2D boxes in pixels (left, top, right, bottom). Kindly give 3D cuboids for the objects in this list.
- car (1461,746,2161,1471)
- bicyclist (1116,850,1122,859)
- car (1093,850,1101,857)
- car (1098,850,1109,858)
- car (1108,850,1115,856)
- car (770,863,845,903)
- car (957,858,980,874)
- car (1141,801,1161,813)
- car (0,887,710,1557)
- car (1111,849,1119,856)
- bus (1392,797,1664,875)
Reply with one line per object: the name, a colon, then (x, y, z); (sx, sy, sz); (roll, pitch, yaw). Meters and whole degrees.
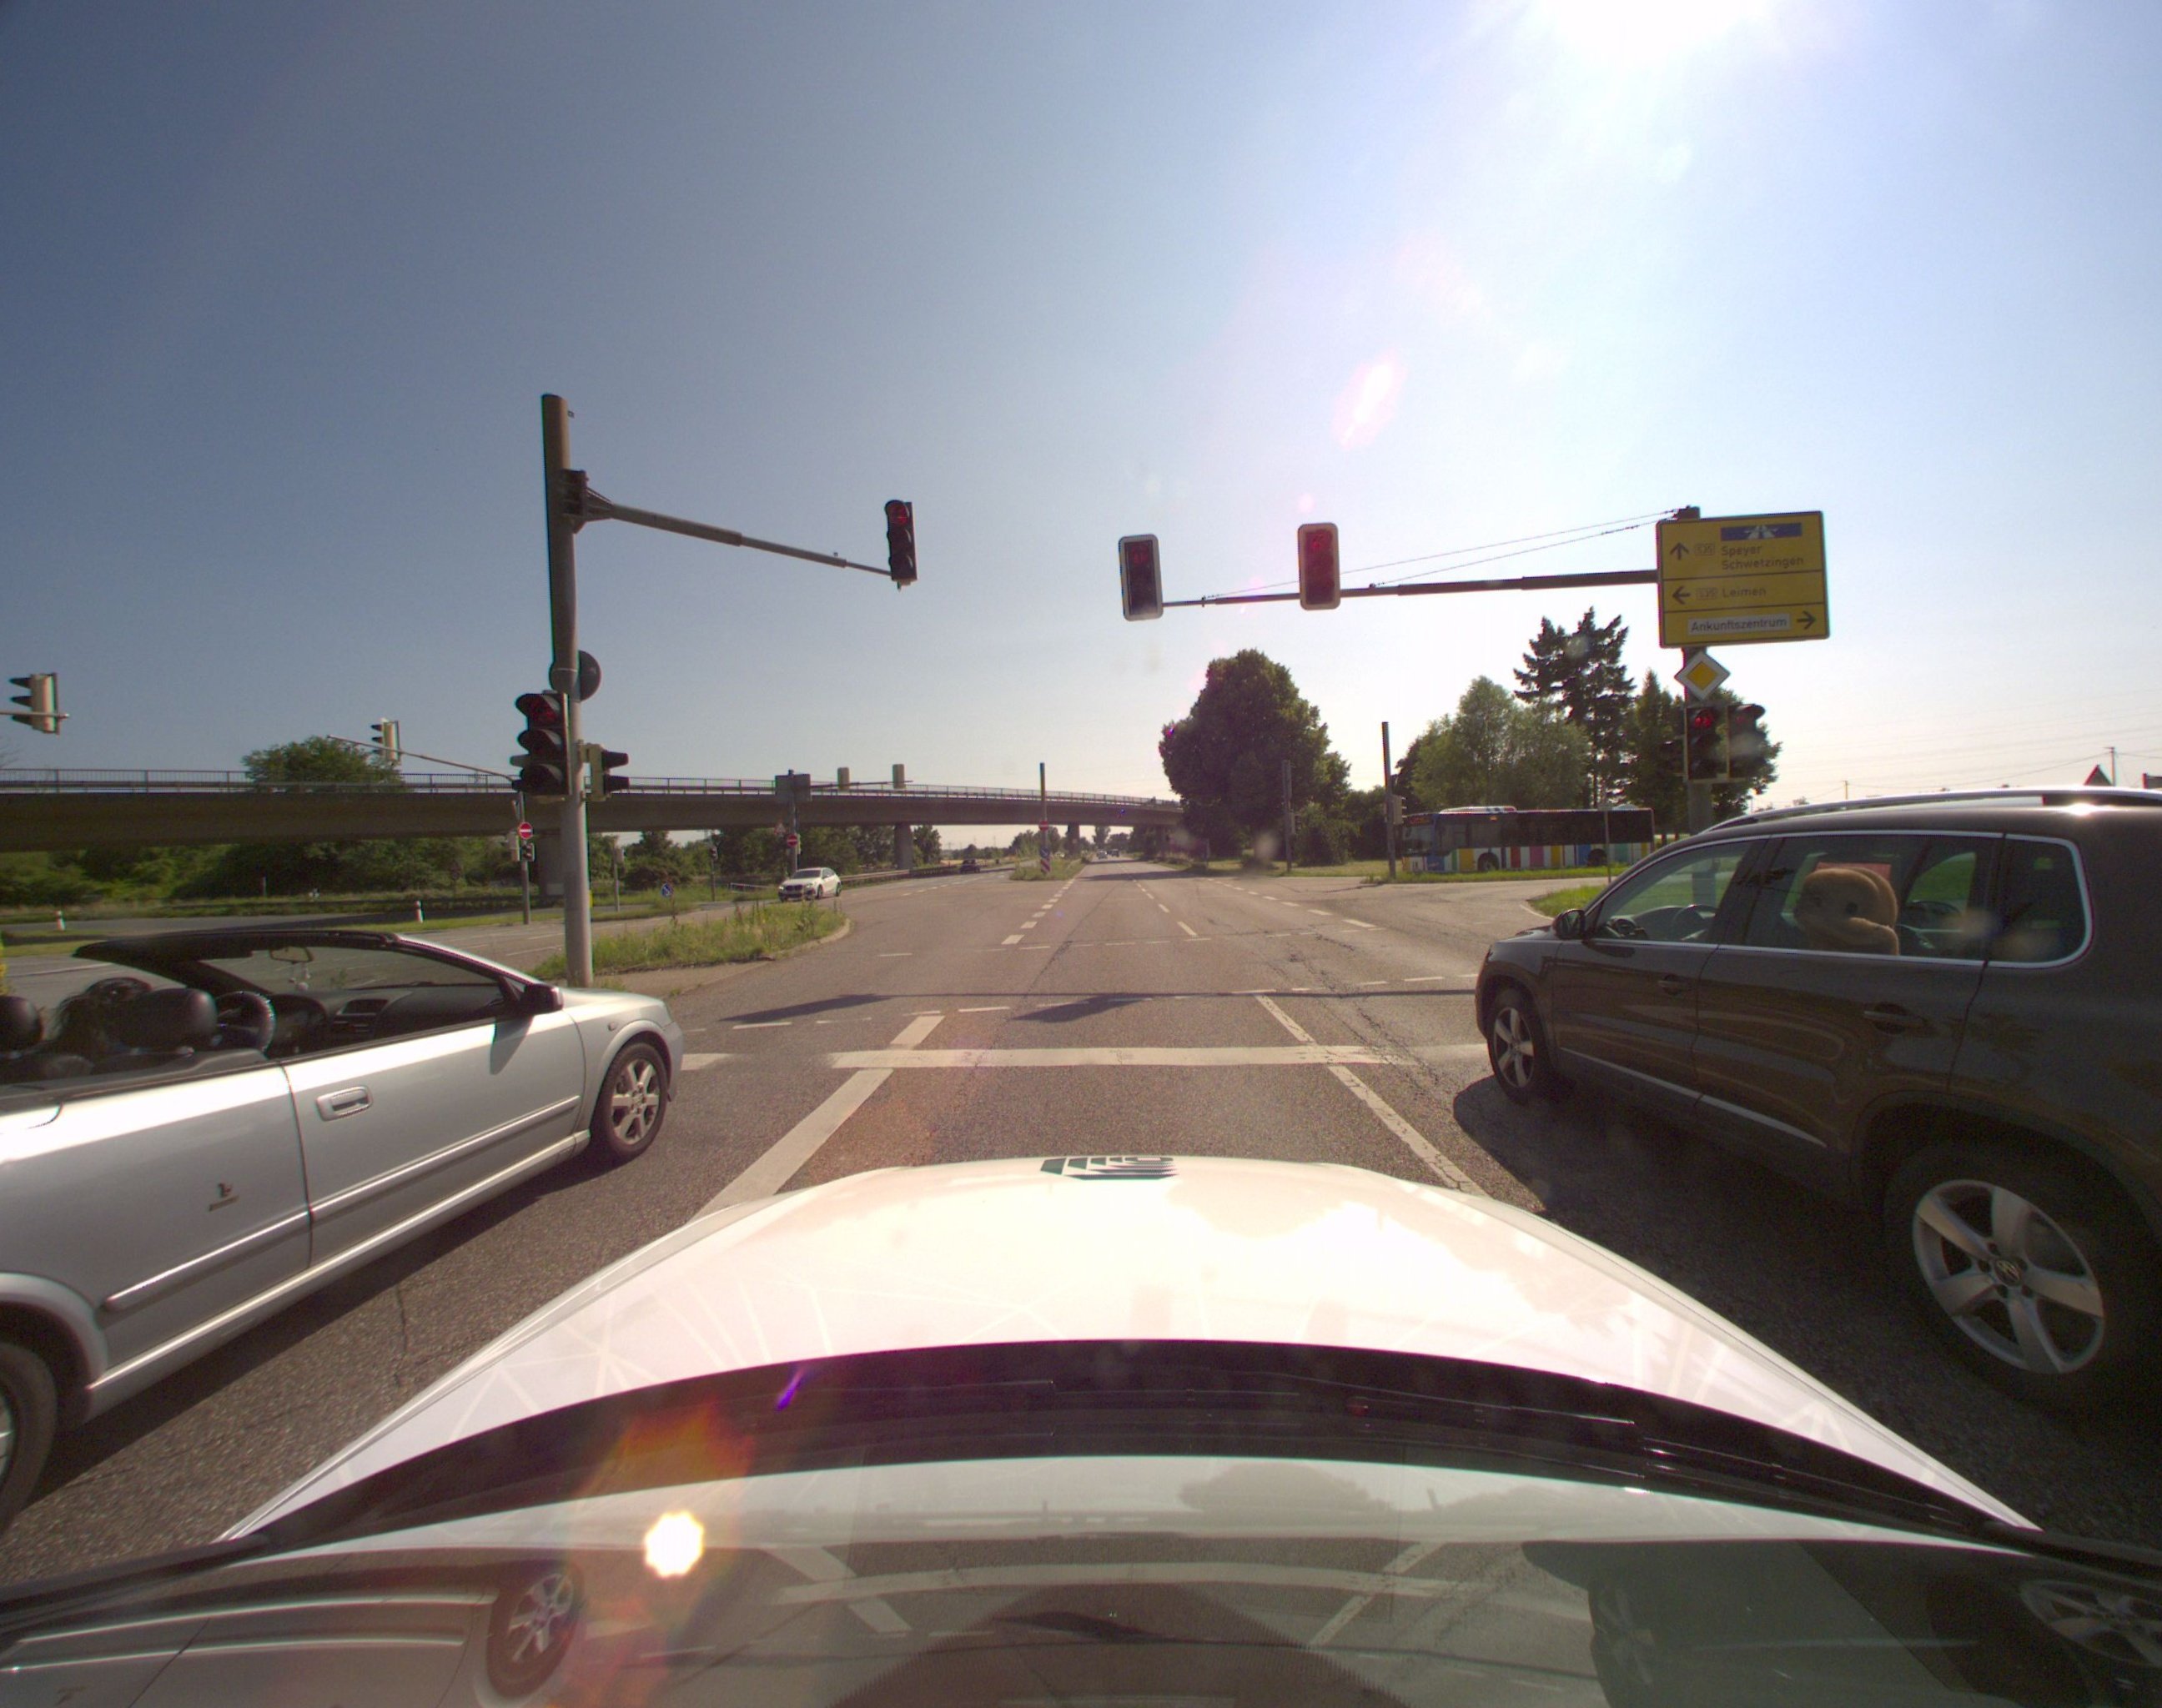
car: (3.372, 0.573, 3.348); (1.749, 1.655, 4.147); (-1, 0, 1)
bicyclist: (8.284, 0.089, 177.533); (1.003, 1.886, 1.327); (-3, 0, 2)
car: (3.938, -0.012, 198.141); (1.866, 1.640, 4.003); (-1, 0, 3)
car: (4.284, 0.057, 154.761); (1.843, 1.461, 4.003); (-1, 0, 3)
car: (8.707, -0.306, 234.874); (1.986, 1.631, 4.001); (0, -1, 1)
car: (-12.592, 1.303, 37.800); (1.876, 1.515, 4.148); (-5, 0, 1)
car: (-11.779, 1.244, 85.518); (1.608, 1.442, 3.778); (-5, 0, 2)
car: (9.516, -6.348, 110.440); (1.306, 1.486, 3.218); (-3, 0, 30)
car: (-3.185, 0.910, 2.888); (1.667, 1.335, 4.100); (-3, 0, 2)
car: (8.512, -0.380, 201.815); (1.866, 1.640, 4.003); (-1, 0, 3)
bus: (20.372, -0.821, 37.118); (11.953, 2.877, 2.928); (-3, 0, -14)
